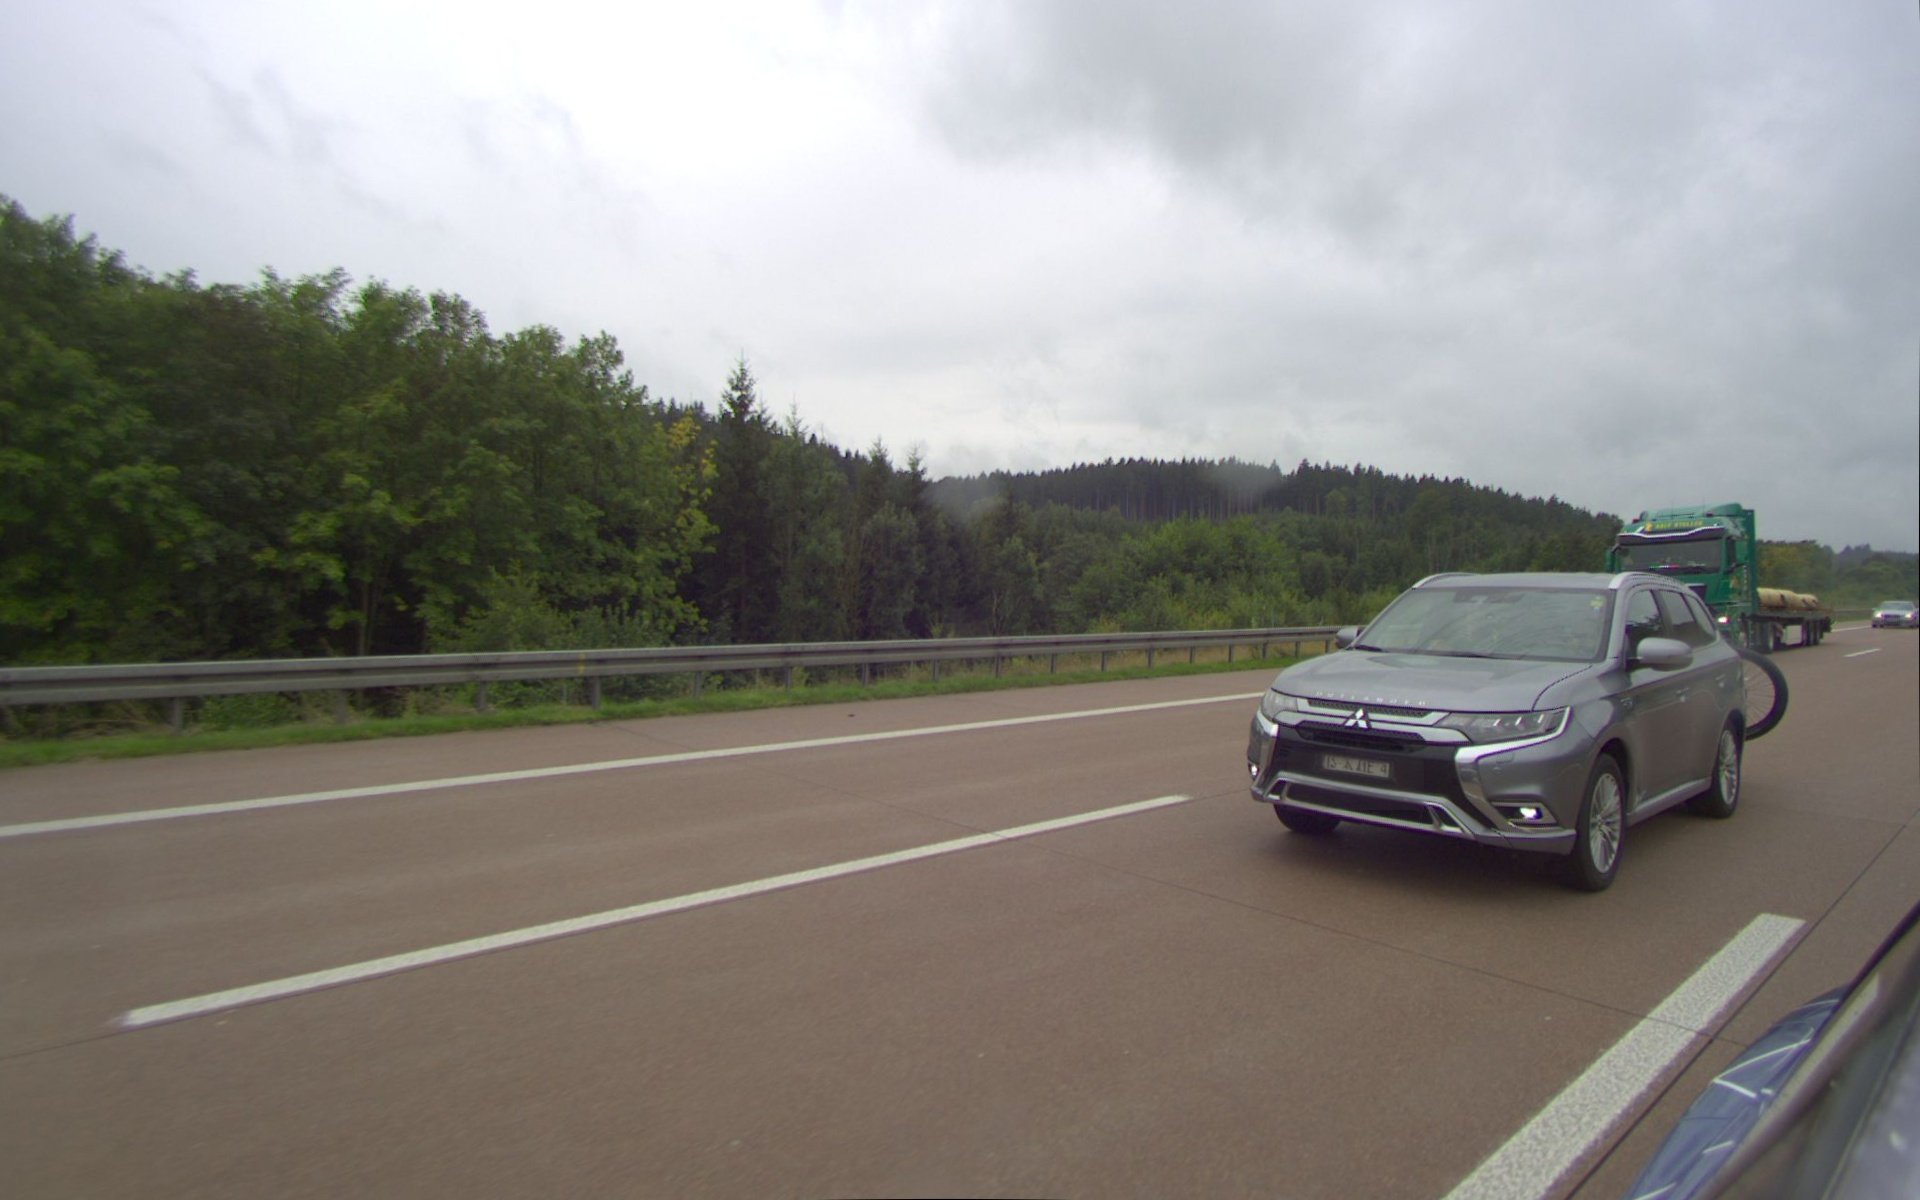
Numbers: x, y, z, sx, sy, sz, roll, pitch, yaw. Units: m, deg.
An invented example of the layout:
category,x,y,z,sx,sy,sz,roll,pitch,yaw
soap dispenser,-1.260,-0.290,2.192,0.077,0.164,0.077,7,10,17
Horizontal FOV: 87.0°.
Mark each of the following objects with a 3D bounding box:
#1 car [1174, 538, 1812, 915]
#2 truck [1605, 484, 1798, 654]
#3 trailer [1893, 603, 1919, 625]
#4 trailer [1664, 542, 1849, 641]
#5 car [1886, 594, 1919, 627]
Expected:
category,x,y,z,sx,sy,sz,roll,pitch,yaw
car,4.035,0.472,6.982,5.720,1.612,1.996,-2,1,-41
truck,20.113,-0.819,27.284,6.871,4.014,2.900,-2,1,-43
trailer,54.182,0.752,57.026,4.560,1.181,1.974,0,0,-43
trailer,25.845,-0.373,32.523,11.206,2.709,2.885,-2,1,-42
car,50.747,0.526,53.932,4.894,1.631,1.700,-2,2,-43
